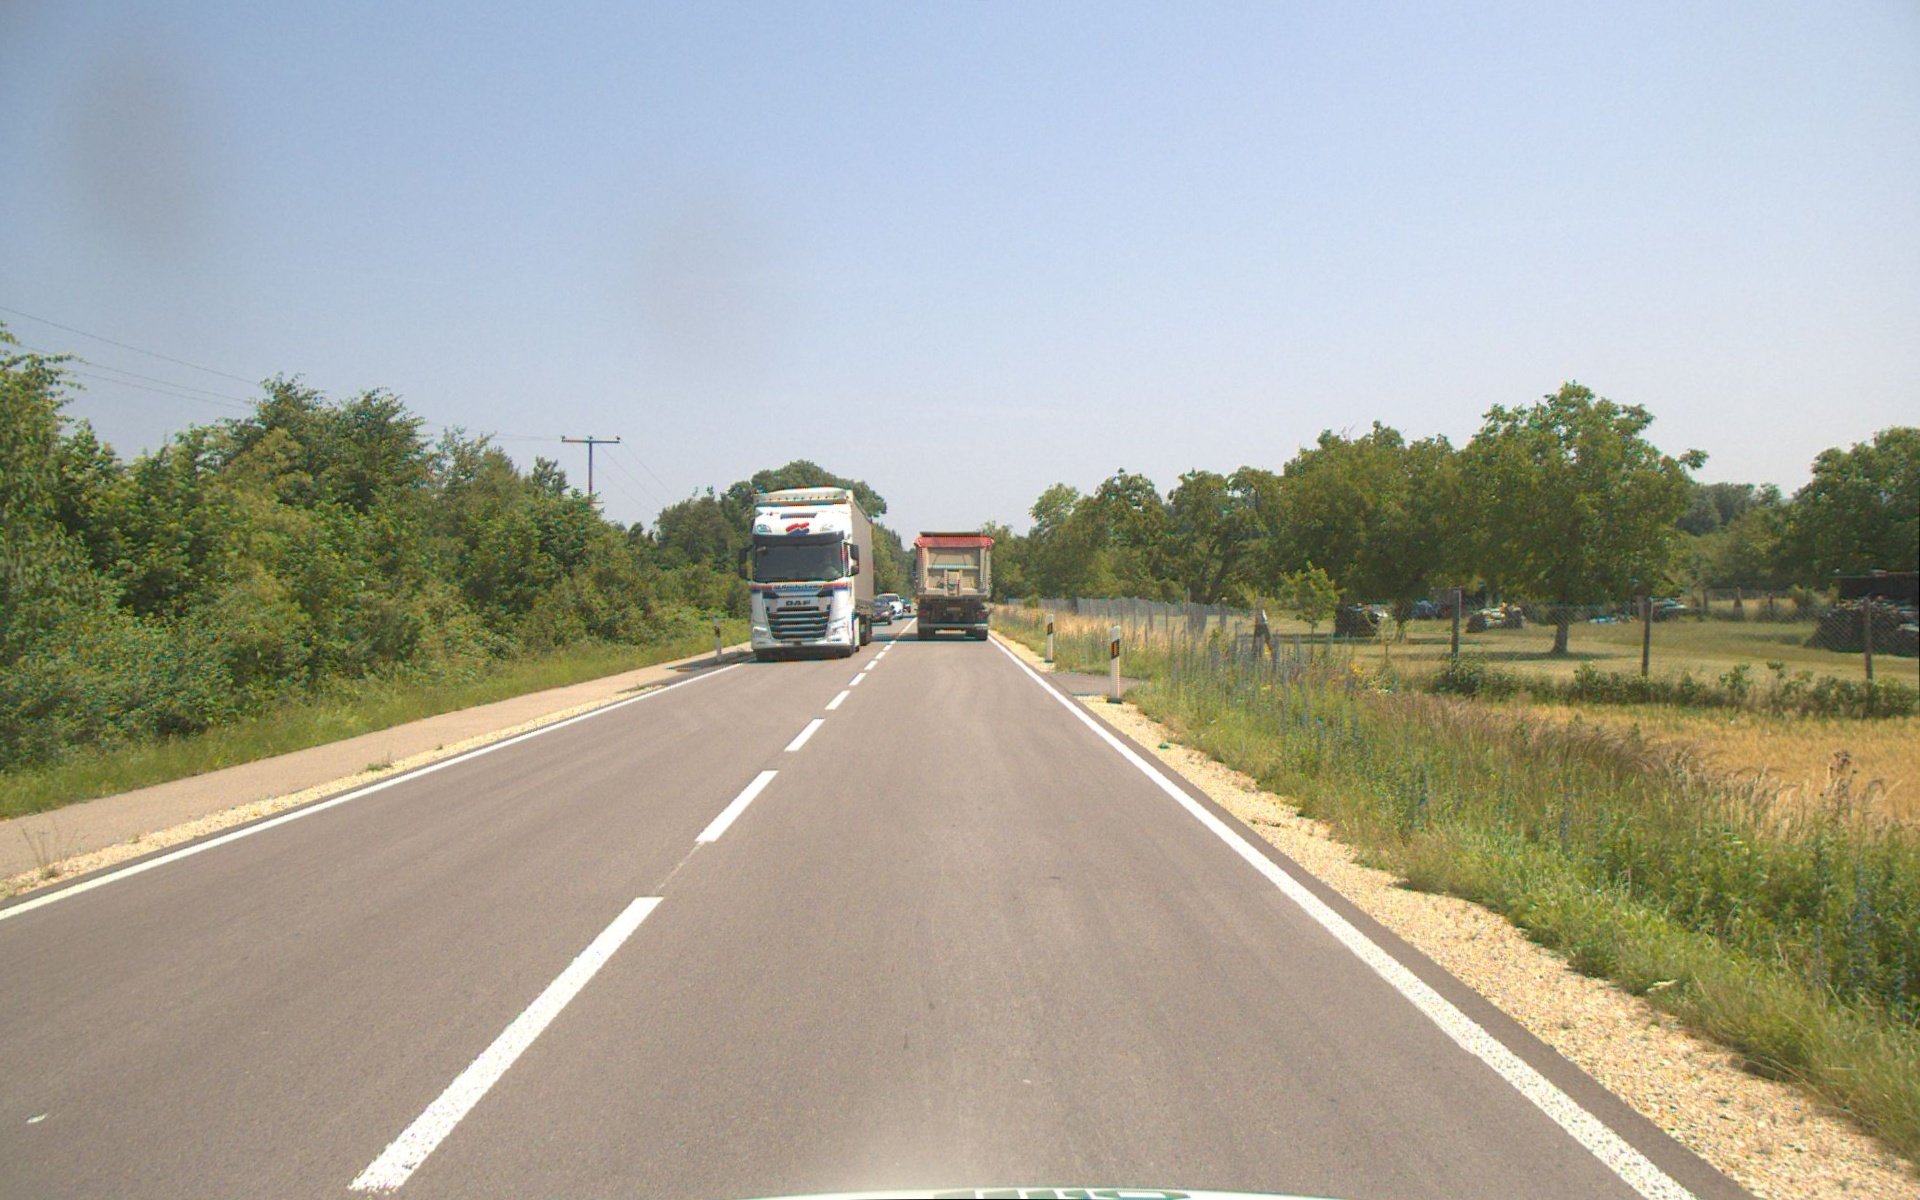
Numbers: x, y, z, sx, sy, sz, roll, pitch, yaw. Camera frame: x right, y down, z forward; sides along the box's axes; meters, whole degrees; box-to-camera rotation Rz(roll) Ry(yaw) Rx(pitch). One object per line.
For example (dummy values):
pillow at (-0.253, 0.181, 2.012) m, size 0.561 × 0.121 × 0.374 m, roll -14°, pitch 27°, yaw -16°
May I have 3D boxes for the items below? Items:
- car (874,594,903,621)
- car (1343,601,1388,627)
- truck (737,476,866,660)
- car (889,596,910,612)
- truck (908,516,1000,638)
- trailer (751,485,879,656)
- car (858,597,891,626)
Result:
car at (-4.623, 0.444, 107.009) m, size 1.723 × 1.634 × 4.480 m, roll -2°, pitch 0°, yaw -1°
car at (25.457, 0.868, 103.866) m, size 1.563 × 1.512 × 3.421 m, roll 0°, pitch 1°, yaw -9°
truck at (-4.041, -0.790, 43.679) m, size 2.662 × 4.340 × 7.388 m, roll -2°, pitch 0°, yaw -1°
car at (-5.413, 0.367, 147.389) m, size 1.723 × 1.381 × 4.045 m, roll -2°, pitch 0°, yaw -1°
truck at (-0.305, -0.733, 60.682) m, size 2.948 × 3.942 × 12.206 m, roll 1°, pitch 0°, yaw -1°
trailer at (-4.088, -0.800, 49.741) m, size 2.662 × 4.340 × 13.807 m, roll -2°, pitch 0°, yaw -1°
car at (-4.505, 0.582, 87.495) m, size 1.660 × 1.431 × 4.044 m, roll -2°, pitch 0°, yaw -2°
